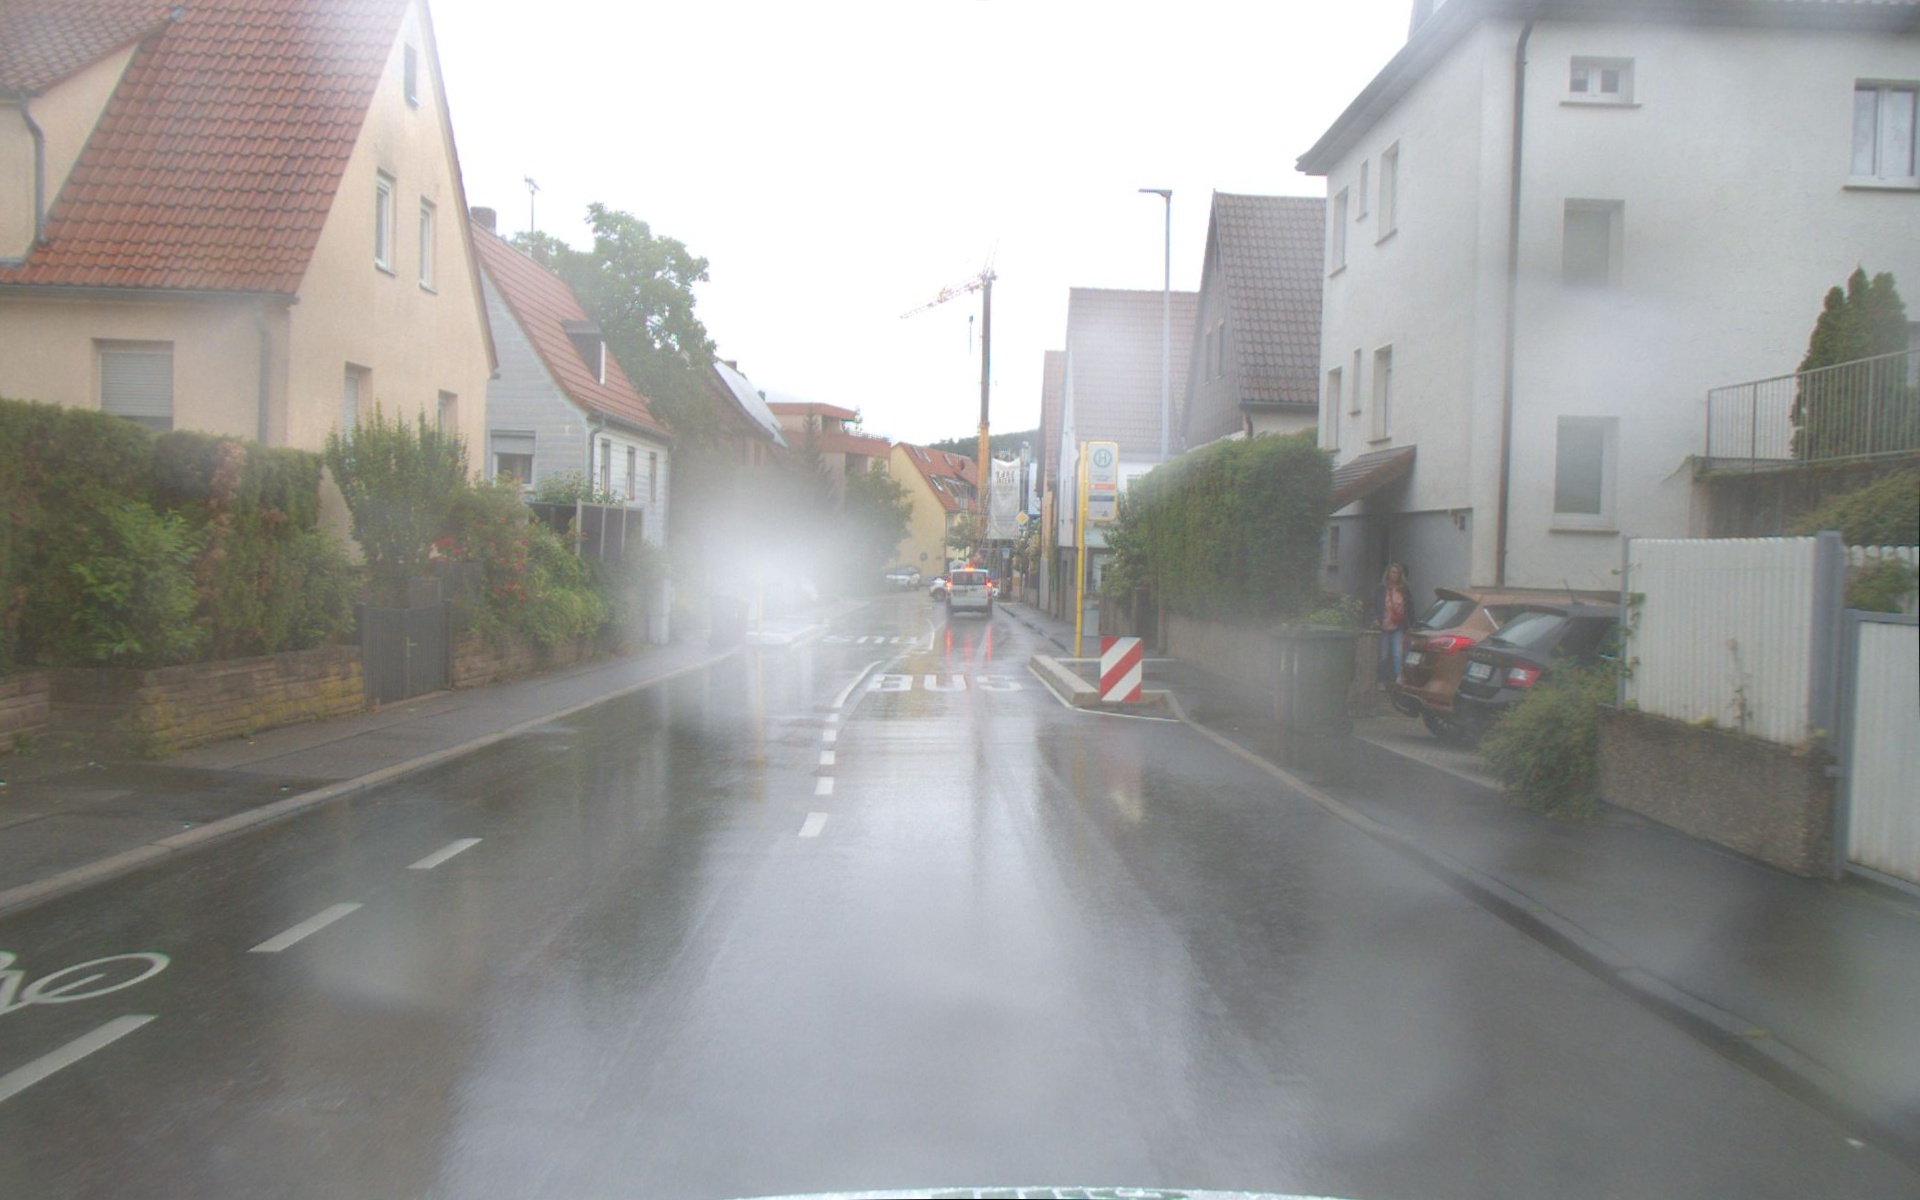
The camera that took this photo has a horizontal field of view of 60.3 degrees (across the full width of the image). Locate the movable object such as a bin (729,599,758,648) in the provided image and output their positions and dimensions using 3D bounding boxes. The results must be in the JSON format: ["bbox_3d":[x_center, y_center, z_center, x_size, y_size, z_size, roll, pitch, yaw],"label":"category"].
[{"bbox_3d":[-4.513,0.483,34.463,0.458,0.955,0.455,5,3,2],"label":"movable object such as a bin"}]

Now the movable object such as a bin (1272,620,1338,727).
[{"bbox_3d":[3.644,0.771,17.491,0.556,1.095,0.537,1,1,-3],"label":"movable object such as a bin"}]

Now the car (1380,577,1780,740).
[{"bbox_3d":[6.089,0.547,16.492,3.406,1.536,1.580,0,1,-1],"label":"car"}]

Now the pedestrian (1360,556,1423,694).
[{"bbox_3d":[5.588,0.317,21.445,0.615,1.756,0.619,1,1,0],"label":"pedestrian"}]

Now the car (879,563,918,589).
[{"bbox_3d":[-4.265,-1.690,115.437,1.566,1.707,3.942,2,2,15],"label":"car"}]

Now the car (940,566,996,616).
[{"bbox_3d":[0.289,-0.372,65.925,2.137,1.902,4.000,1,0,-1],"label":"car"}]

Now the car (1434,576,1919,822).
[{"bbox_3d":[5.922,0.767,13.728,3.377,1.506,1.580,7,1,-1],"label":"car"}]

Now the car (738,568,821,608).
[{"bbox_3d":[-8.088,-0.547,74.377,3.472,1.555,1.663,3,1,1],"label":"car"}]

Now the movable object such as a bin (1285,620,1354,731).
[{"bbox_3d":[3.666,0.767,16.907,0.556,1.095,0.537,1,1,-3],"label":"movable object such as a bin"}]

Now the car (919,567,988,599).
[{"bbox_3d":[-0.367,-0.999,97.206,3.902,1.825,1.805,1,0,6],"label":"car"}]
